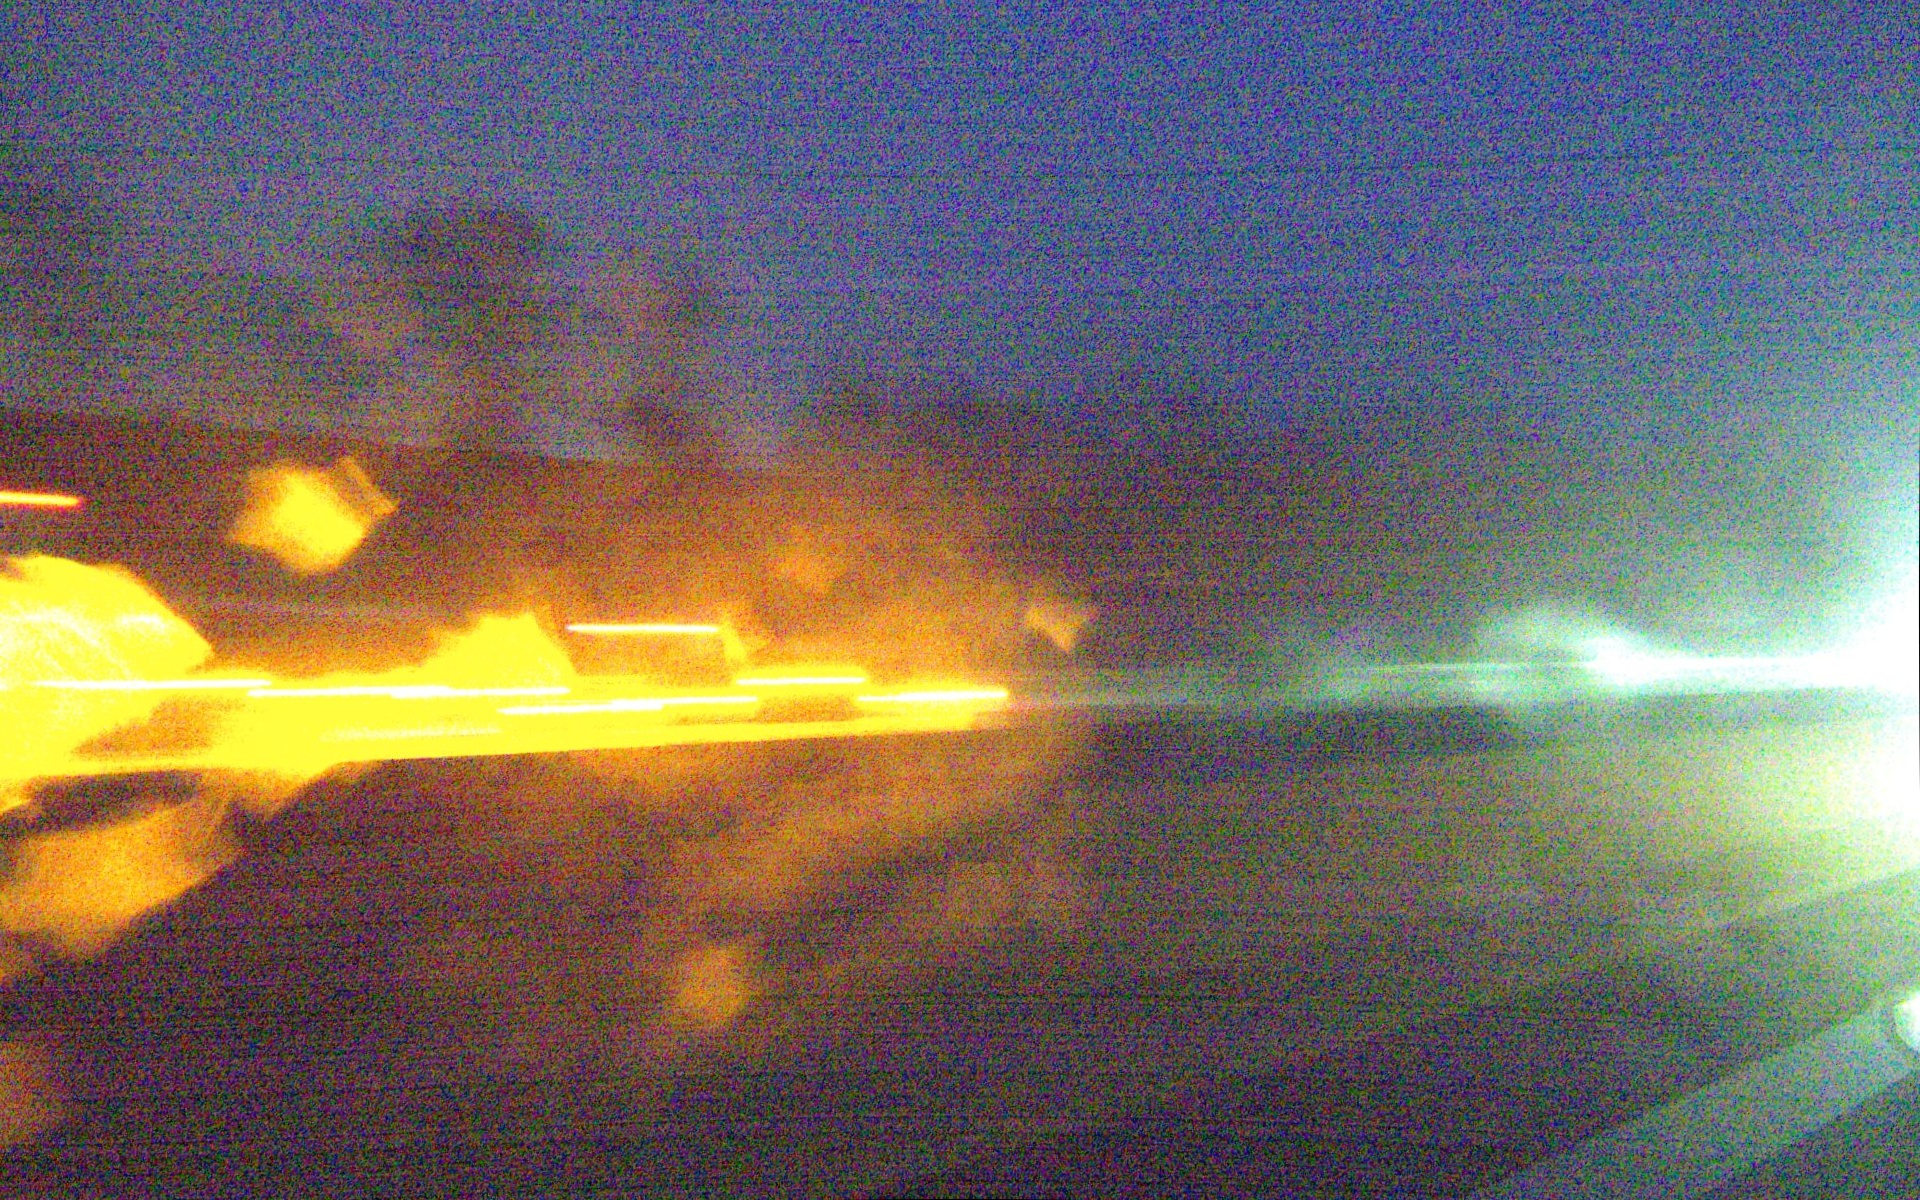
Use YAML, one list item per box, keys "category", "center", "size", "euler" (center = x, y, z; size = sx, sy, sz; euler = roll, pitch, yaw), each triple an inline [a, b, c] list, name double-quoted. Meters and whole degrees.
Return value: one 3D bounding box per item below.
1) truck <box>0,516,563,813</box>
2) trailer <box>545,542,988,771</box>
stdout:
- category: "truck"
  center: [-11.820, 0.921, 15.751]
  size: [10.099, 3.959, 2.852]
  euler: [1, -2, -32]
- category: "trailer"
  center: [-3.755, 1.062, 20.809]
  size: [8.608, 3.952, 2.841]
  euler: [1, -1, -32]
